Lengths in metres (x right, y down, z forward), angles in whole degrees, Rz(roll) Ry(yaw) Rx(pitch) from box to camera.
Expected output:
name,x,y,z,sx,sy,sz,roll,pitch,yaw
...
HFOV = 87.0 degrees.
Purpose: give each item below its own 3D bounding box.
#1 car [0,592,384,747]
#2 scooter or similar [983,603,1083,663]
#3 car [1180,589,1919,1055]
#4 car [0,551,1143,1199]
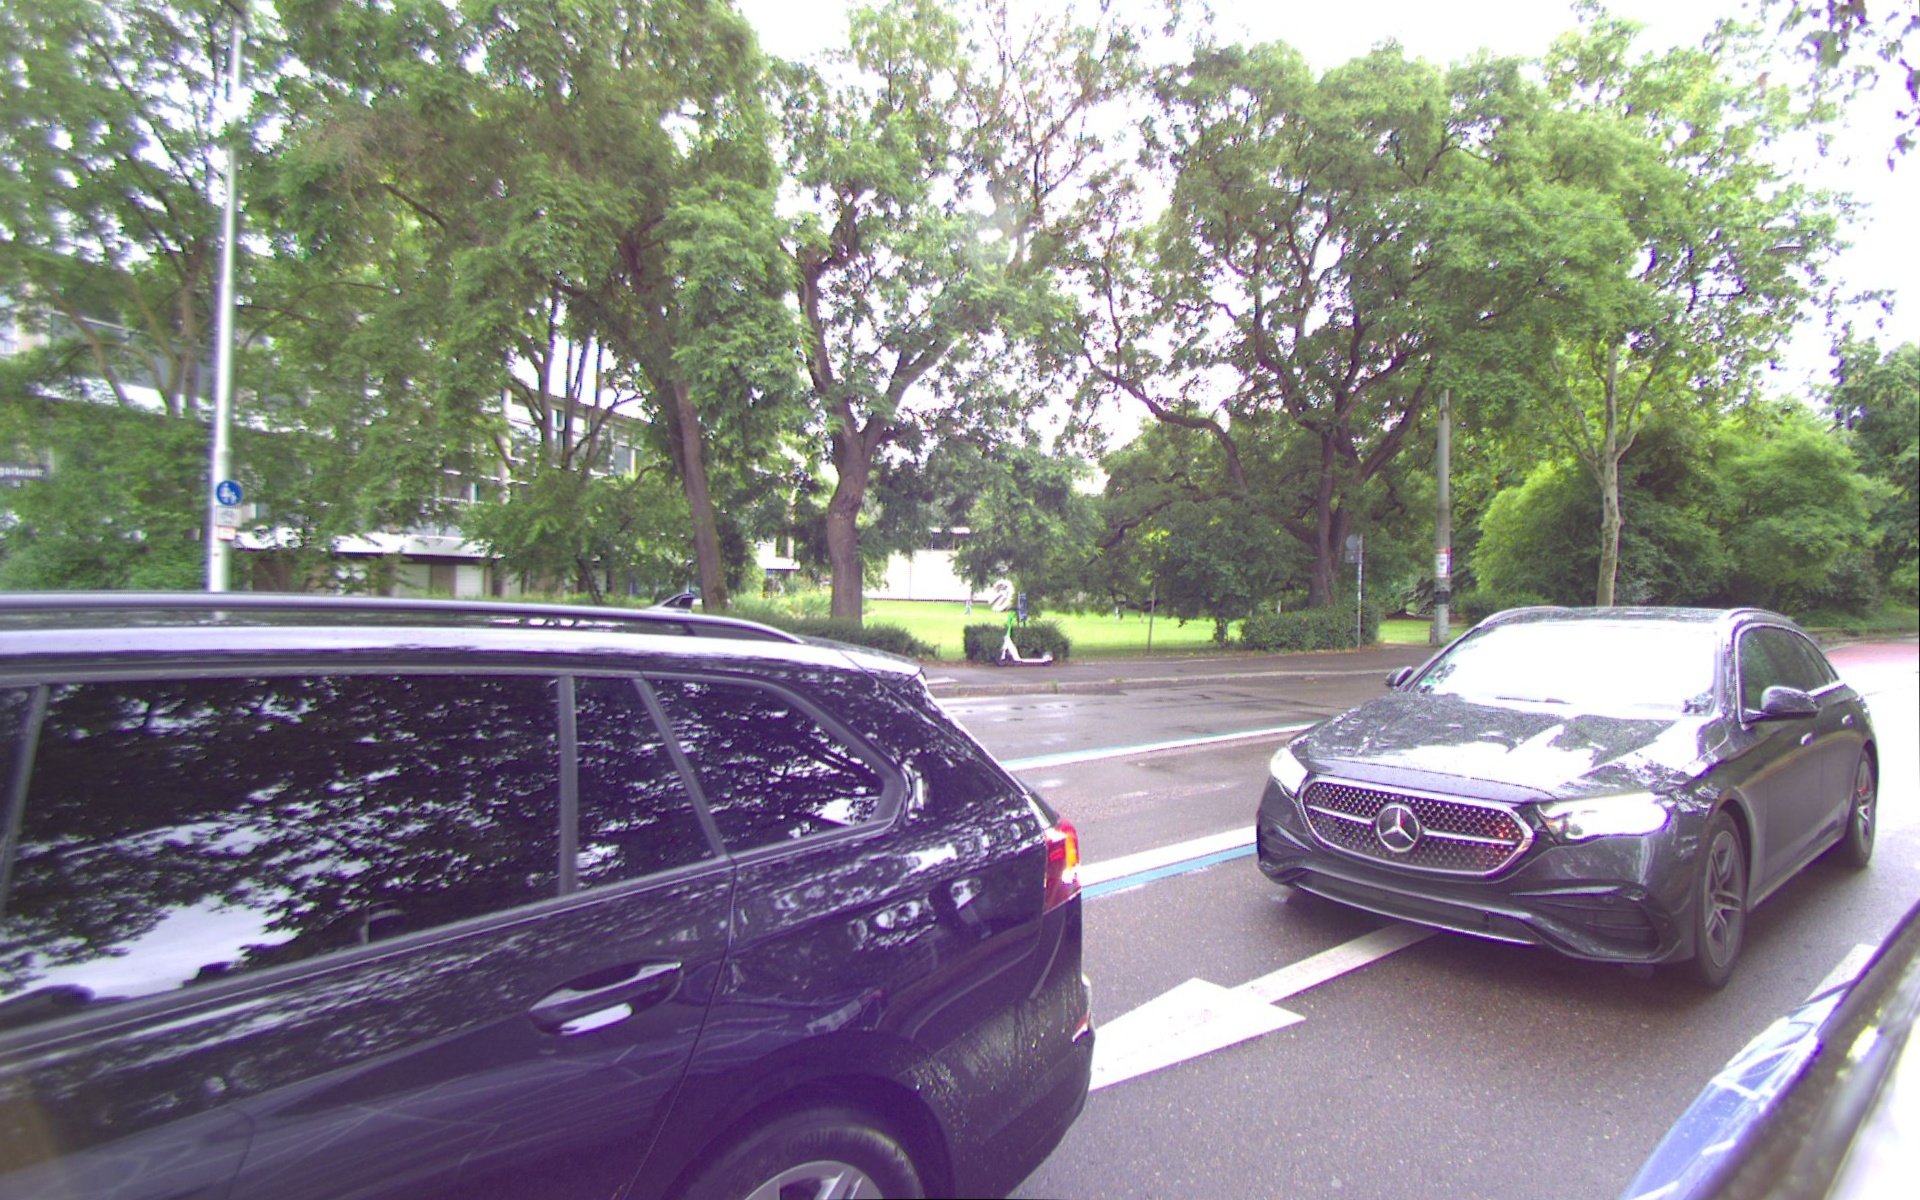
name,x,y,z,sx,sy,sz,roll,pitch,yaw
car,-8.750,0.666,10.733,4.311,1.468,1.872,1,0,-19
scooter or similar,1.440,0.649,19.968,1.851,1.114,0.559,2,2,-19
car,3.473,0.705,5.461,4.842,1.464,1.883,0,-1,-39
car,-1.784,0.676,1.415,4.435,1.484,1.672,1,0,-43
